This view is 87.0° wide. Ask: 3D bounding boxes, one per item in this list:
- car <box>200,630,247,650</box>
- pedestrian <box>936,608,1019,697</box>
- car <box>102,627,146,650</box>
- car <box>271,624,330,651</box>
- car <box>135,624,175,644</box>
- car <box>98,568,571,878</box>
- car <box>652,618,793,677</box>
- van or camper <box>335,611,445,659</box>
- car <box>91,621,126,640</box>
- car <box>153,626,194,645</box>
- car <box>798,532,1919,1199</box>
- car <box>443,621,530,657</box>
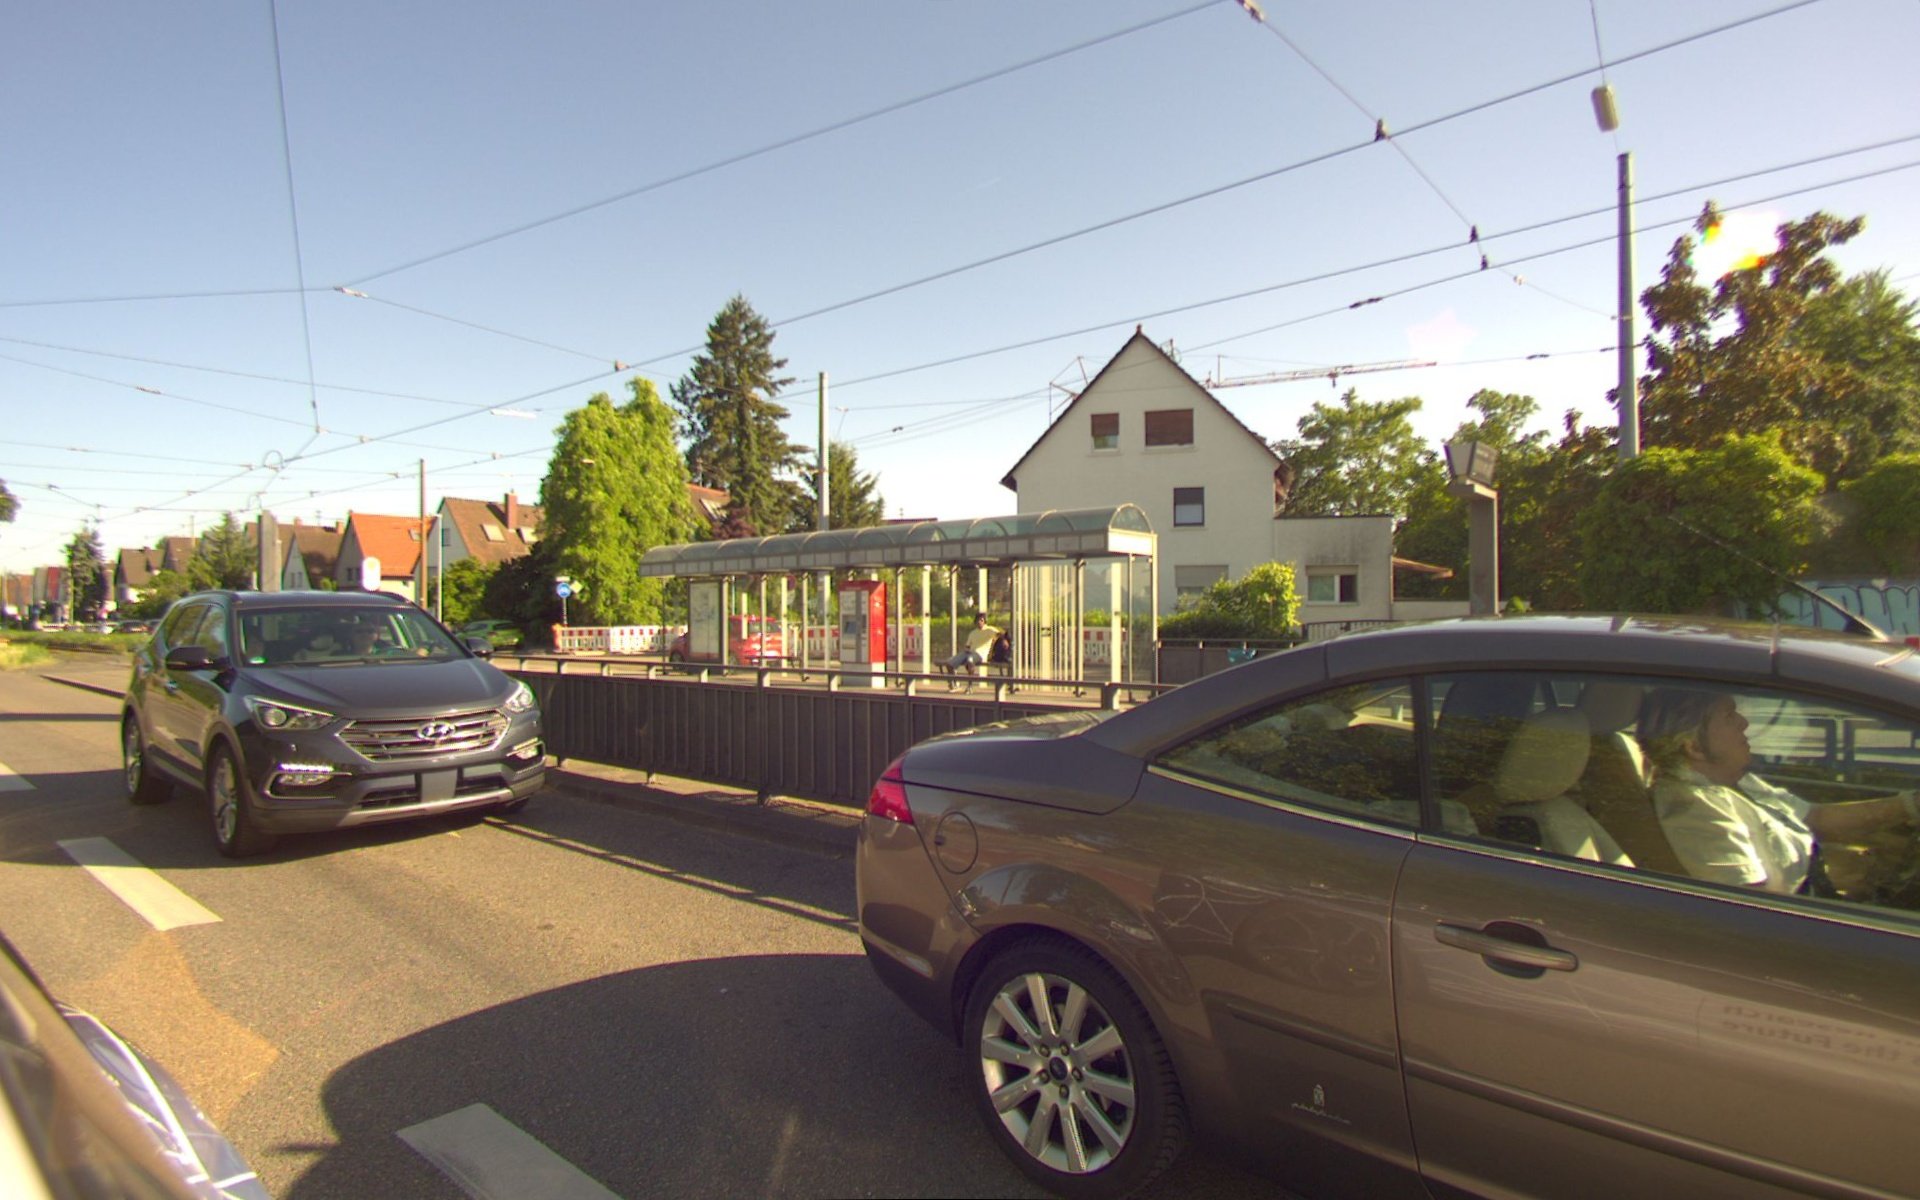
[{"bbox_3d":[-54.270,2.950,74.568,4.308,1.382,1.972,-2,-1,42],"label":"car"},{"bbox_3d":[0.311,0.888,17.519,1.006,1.464,1.050,-1,-2,40],"label":"pedestrian"},{"bbox_3d":[-59.670,2.727,72.216,4.341,1.532,1.717,-2,-2,41],"label":"car"},{"bbox_3d":[-40.483,2.276,62.098,4.438,1.477,1.887,-1,0,41],"label":"car"},{"bbox_3d":[-69.217,2.920,86.971,4.534,1.573,1.864,-2,0,41],"label":"car"},{"bbox_3d":[-4.768,0.710,7.451,4.285,1.642,1.757,-2,-2,41],"label":"car"},{"bbox_3d":[-6.304,1.213,26.617,4.014,1.413,1.587,-2,-2,41],"label":"car"},{"bbox_3d":[-23.582,1.379,41.734,5.982,1.842,1.974,-1,0,40],"label":"van or camper"},{"bbox_3d":[-84.635,3.016,100.554,4.582,1.877,1.973,-2,-1,41],"label":"car"},{"bbox_3d":[-65.218,2.917,83.878,4.837,1.483,1.864,-2,0,42],"label":"car"},{"bbox_3d":[1.721,0.651,2.281,4.331,1.461,1.757,-2,-2,41],"label":"car"},{"bbox_3d":[-21.690,1.736,46.329,4.064,1.512,1.974,-1,0,38],"label":"car"}]
